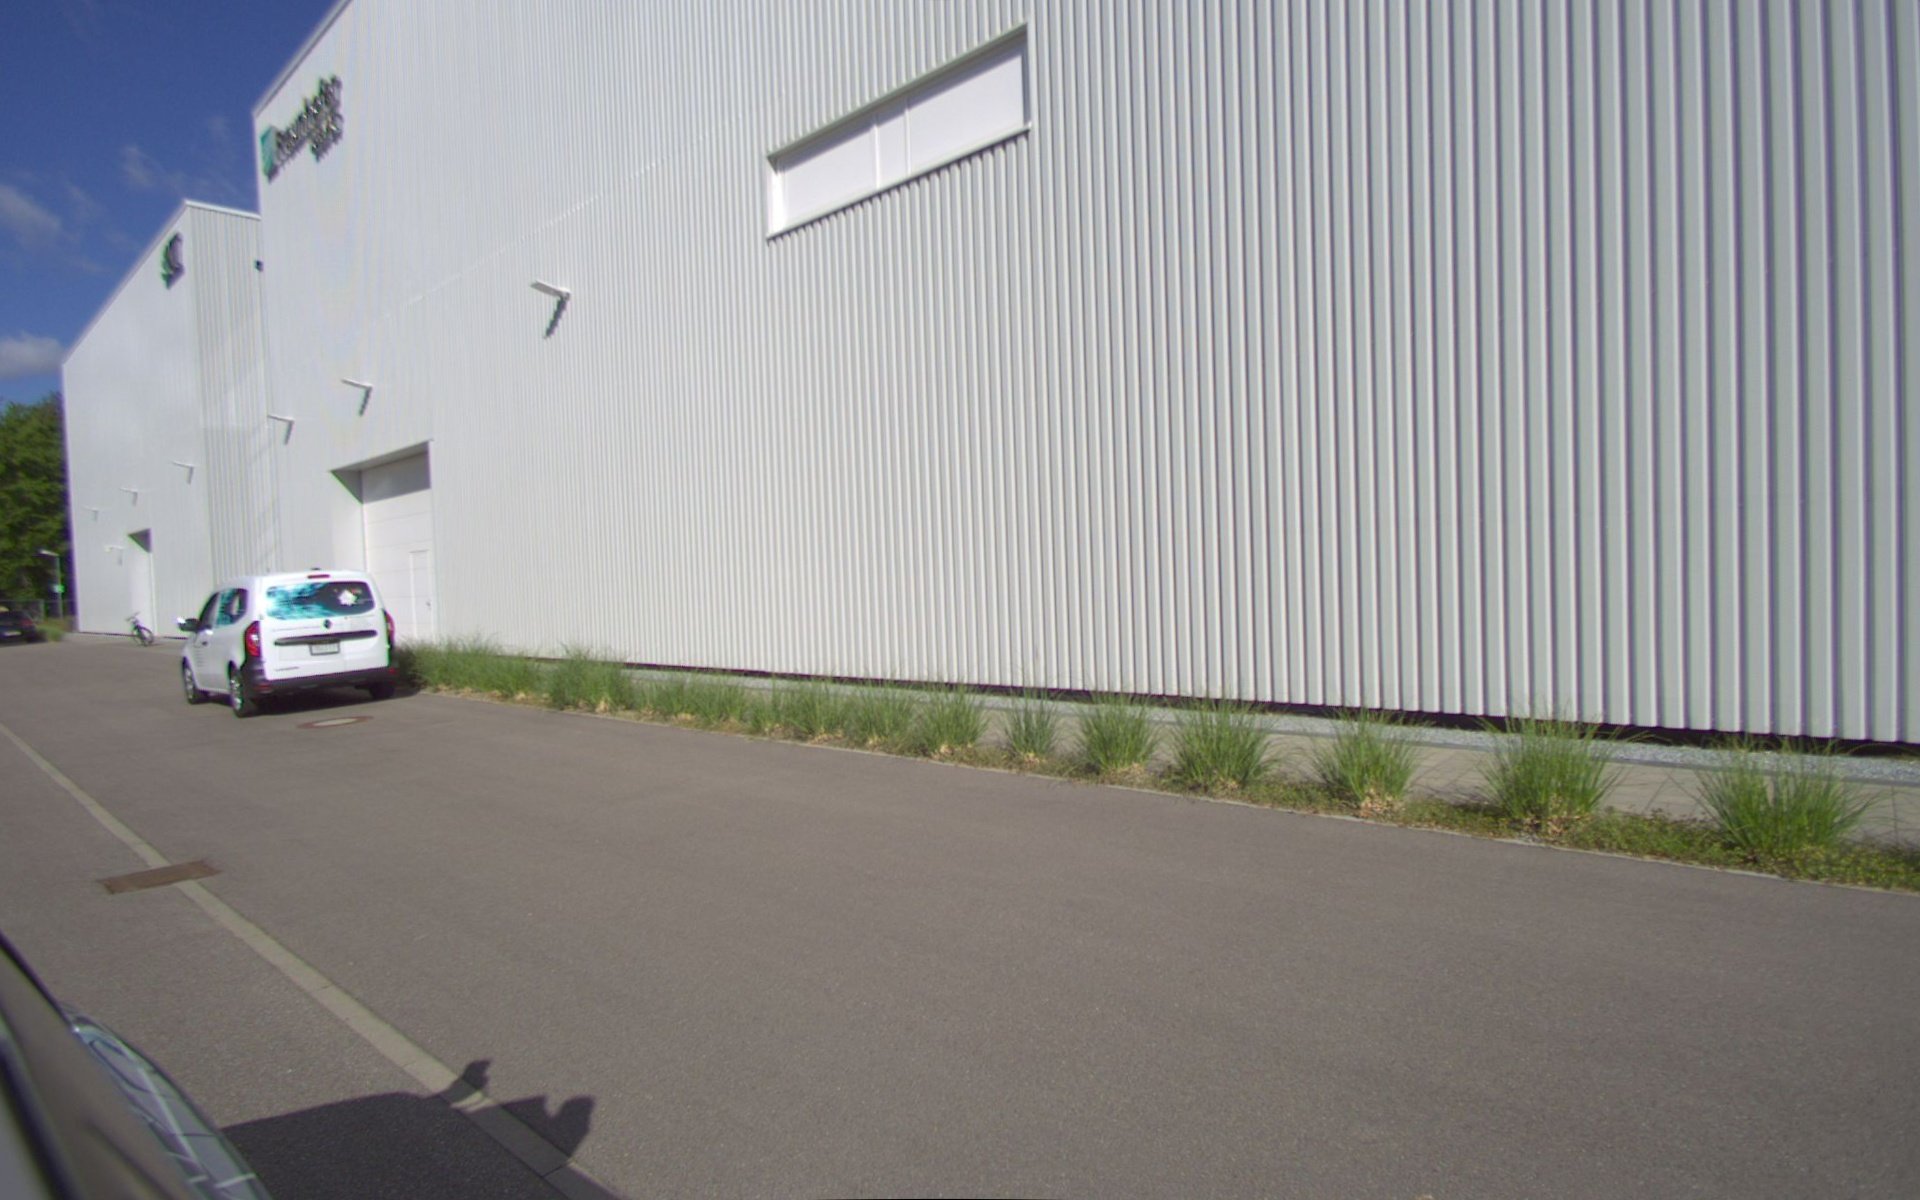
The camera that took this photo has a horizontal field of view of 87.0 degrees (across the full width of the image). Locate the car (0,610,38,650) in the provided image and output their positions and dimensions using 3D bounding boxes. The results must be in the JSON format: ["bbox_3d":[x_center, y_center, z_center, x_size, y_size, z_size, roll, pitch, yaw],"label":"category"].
[{"bbox_3d":[-40.896,1.310,43.245,4.001,1.533,1.870,-1,4,44],"label":"car"}]

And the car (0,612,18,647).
[{"bbox_3d":[-44.860,1.421,46.685,4.001,1.533,1.766,-1,4,44],"label":"car"}]

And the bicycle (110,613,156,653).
[{"bbox_3d":[-27.789,1.093,34.034,0.895,1.151,1.905,-6,4,-33],"label":"bicycle"}]

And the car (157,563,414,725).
[{"bbox_3d":[-9.585,0.536,14.250,4.357,1.859,1.871,-1,3,42],"label":"car"}]
